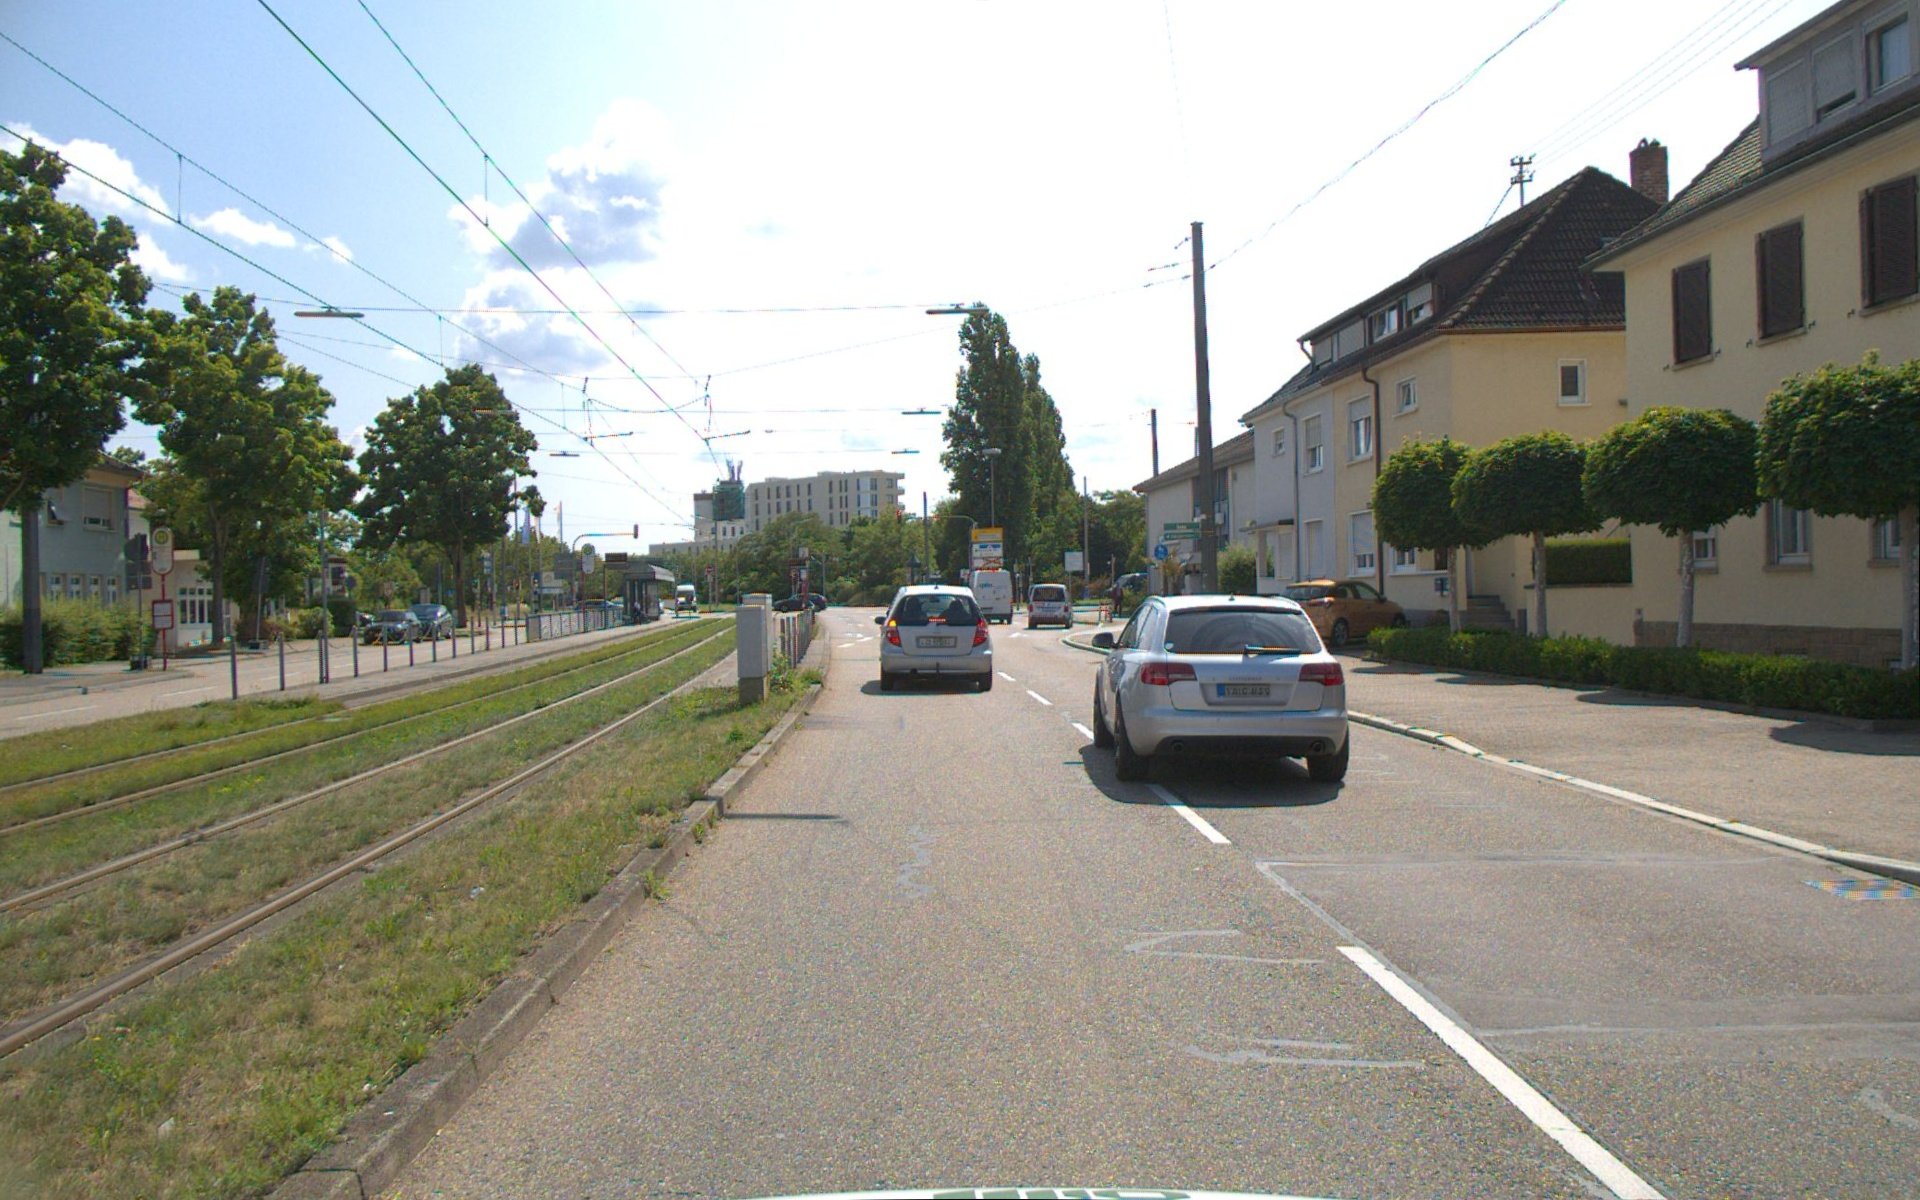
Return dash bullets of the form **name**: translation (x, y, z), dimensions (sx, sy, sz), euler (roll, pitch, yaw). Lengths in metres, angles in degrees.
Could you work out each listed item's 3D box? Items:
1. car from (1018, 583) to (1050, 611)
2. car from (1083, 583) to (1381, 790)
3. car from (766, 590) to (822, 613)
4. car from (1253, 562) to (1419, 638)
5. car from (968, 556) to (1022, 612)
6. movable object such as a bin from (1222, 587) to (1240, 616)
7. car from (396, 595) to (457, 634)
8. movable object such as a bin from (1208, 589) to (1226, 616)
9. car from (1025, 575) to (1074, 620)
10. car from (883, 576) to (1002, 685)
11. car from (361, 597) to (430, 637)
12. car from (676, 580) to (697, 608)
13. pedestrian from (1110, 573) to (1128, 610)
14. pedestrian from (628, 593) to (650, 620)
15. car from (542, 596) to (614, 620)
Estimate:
- **car**: translation (4.534, -0.180, 100.823), dimensions (1.845, 1.665, 4.096), euler (0, 0, 4)
- **car**: translation (2.193, 0.621, 14.572), dimensions (1.817, 1.518, 4.535), euler (-1, 1, -1)
- **car**: translation (-13.131, 0.114, 131.074), dimensions (4.265, 1.769, 1.999), euler (0, 0, -2)
- **car**: translation (8.668, -0.033, 37.951), dimensions (1.884, 1.483, 4.066), euler (0, 3, 44)
- **car**: translation (1.680, -0.775, 81.414), dimensions (2.001, 2.602, 5.225), euler (-1, 1, -6)
- **movable object such as a bin**: translation (9.326, 0.050, 56.910), dimensions (0.433, 0.951, 0.548), euler (-2, 0, -10)
- **car**: translation (-24.539, 0.635, 76.223), dimensions (2.023, 1.642, 4.741), euler (-2, 1, -11)
- **movable object such as a bin**: translation (8.835, 0.072, 56.862), dimensions (0.436, 0.910, 0.545), euler (-2, 1, -10)
- **car**: translation (3.718, -0.121, 68.104), dimensions (1.845, 1.761, 4.097), euler (-2, 0, 5)
- **car**: translation (-0.340, 0.432, 26.721), dimensions (1.751, 1.604, 4.093), euler (1, 1, -2)
- **car**: translation (-23.871, 0.696, 70.031), dimensions (1.751, 1.611, 3.928), euler (-1, 1, -4)
- **car**: translation (-25.859, -0.559, 156.513), dimensions (1.957, 2.651, 4.868), euler (0, 0, -10)
- **pedestrian**: translation (8.029, -0.430, 83.588), dimensions (0.707, 1.813, 0.702), euler (-4, 0, -3)
- **pedestrian**: translation (-16.892, 0.360, 86.999), dimensions (1.038, 1.400, 0.859), euler (0, 0, -6)
- **car**: translation (-27.633, 0.552, 119.597), dimensions (4.765, 1.689, 1.999), euler (0, 0, -3)
